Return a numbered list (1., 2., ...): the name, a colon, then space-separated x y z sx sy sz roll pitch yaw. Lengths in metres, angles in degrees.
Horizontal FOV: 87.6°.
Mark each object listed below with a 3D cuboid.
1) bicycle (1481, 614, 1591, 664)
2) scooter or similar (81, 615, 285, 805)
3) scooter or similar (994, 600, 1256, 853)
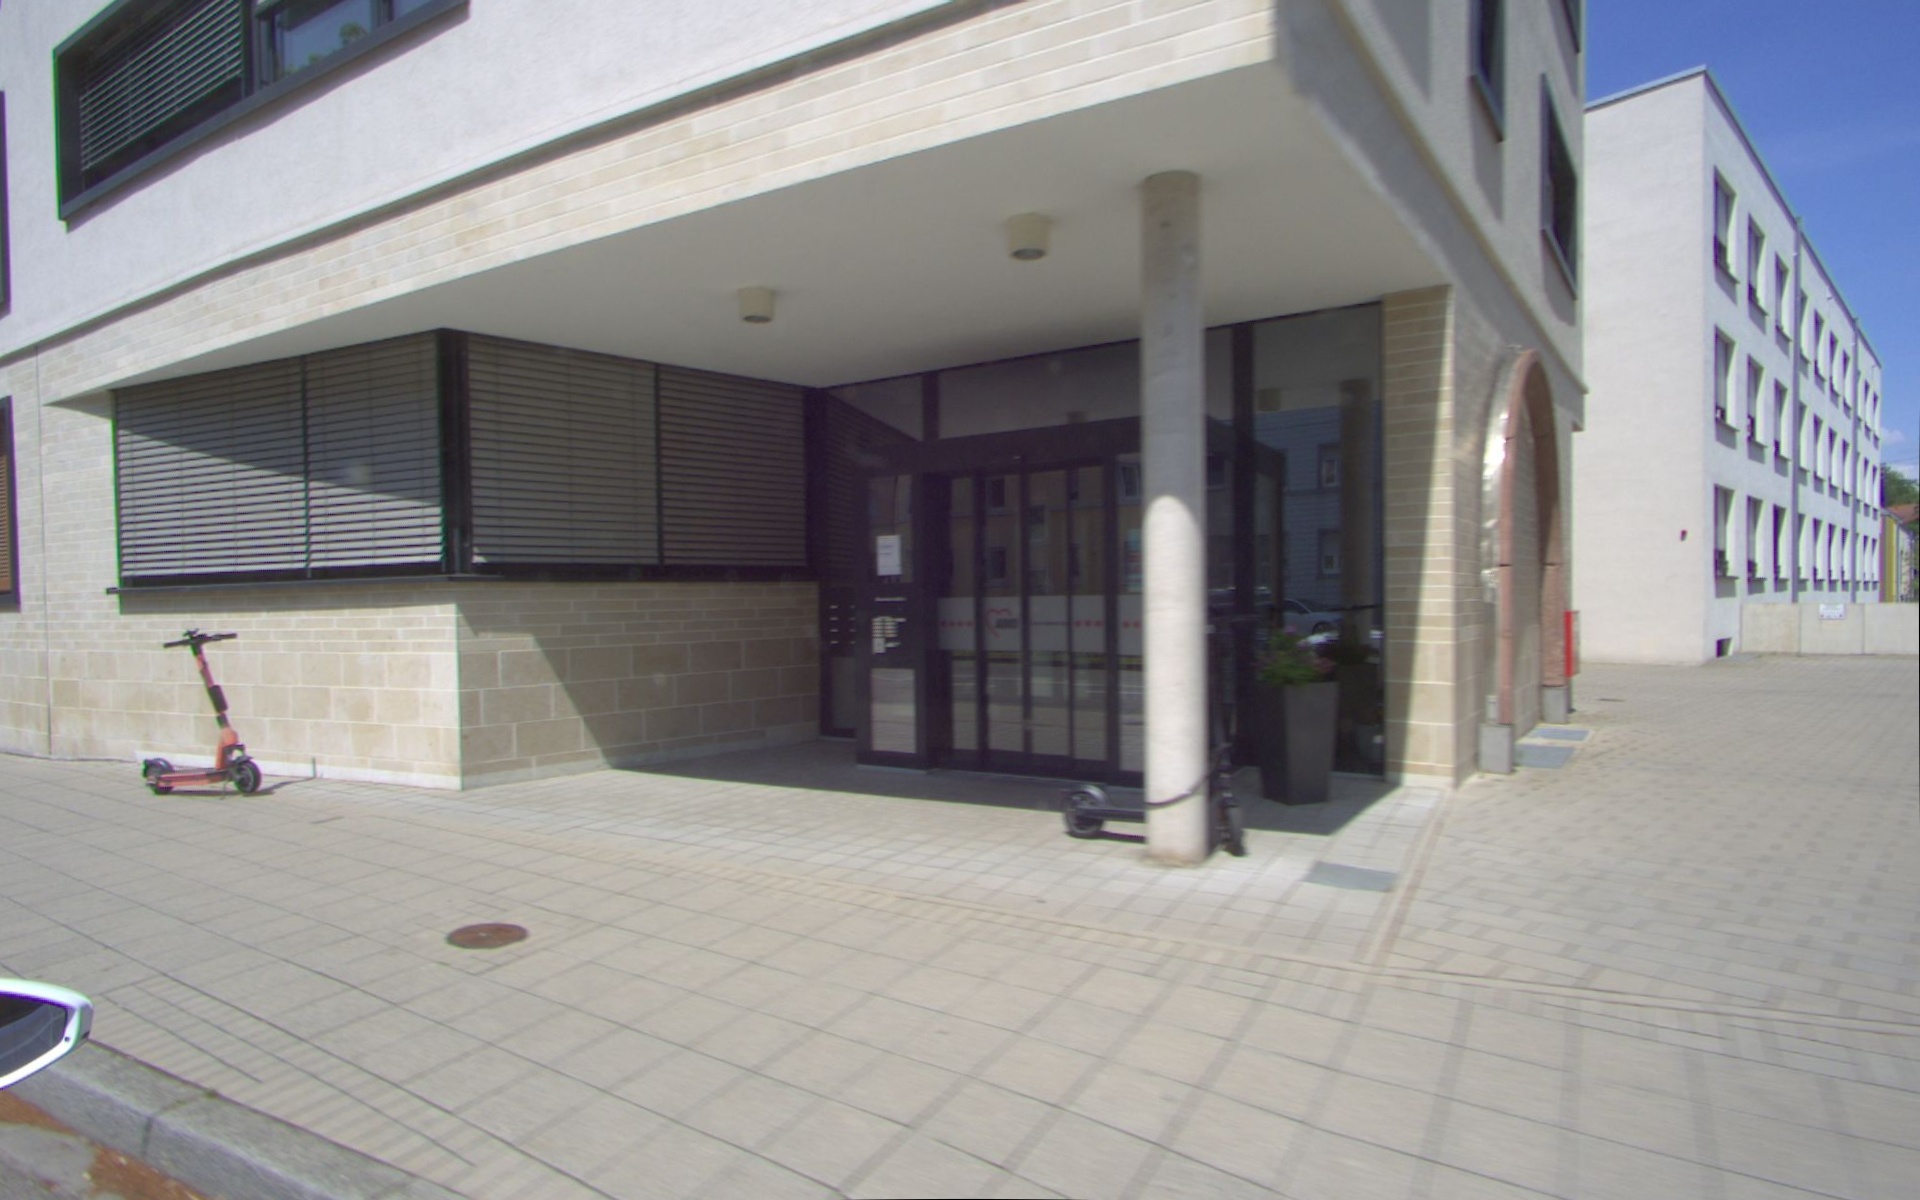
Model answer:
1. bicycle: 11.729 0.787 20.432 1.846 0.979 0.690 -2 0 44
2. scooter or similar: -5.741 0.775 7.402 1.345 1.278 0.581 -1 2 25
3. scooter or similar: 0.867 0.626 5.297 1.293 1.227 0.422 -1 1 23
